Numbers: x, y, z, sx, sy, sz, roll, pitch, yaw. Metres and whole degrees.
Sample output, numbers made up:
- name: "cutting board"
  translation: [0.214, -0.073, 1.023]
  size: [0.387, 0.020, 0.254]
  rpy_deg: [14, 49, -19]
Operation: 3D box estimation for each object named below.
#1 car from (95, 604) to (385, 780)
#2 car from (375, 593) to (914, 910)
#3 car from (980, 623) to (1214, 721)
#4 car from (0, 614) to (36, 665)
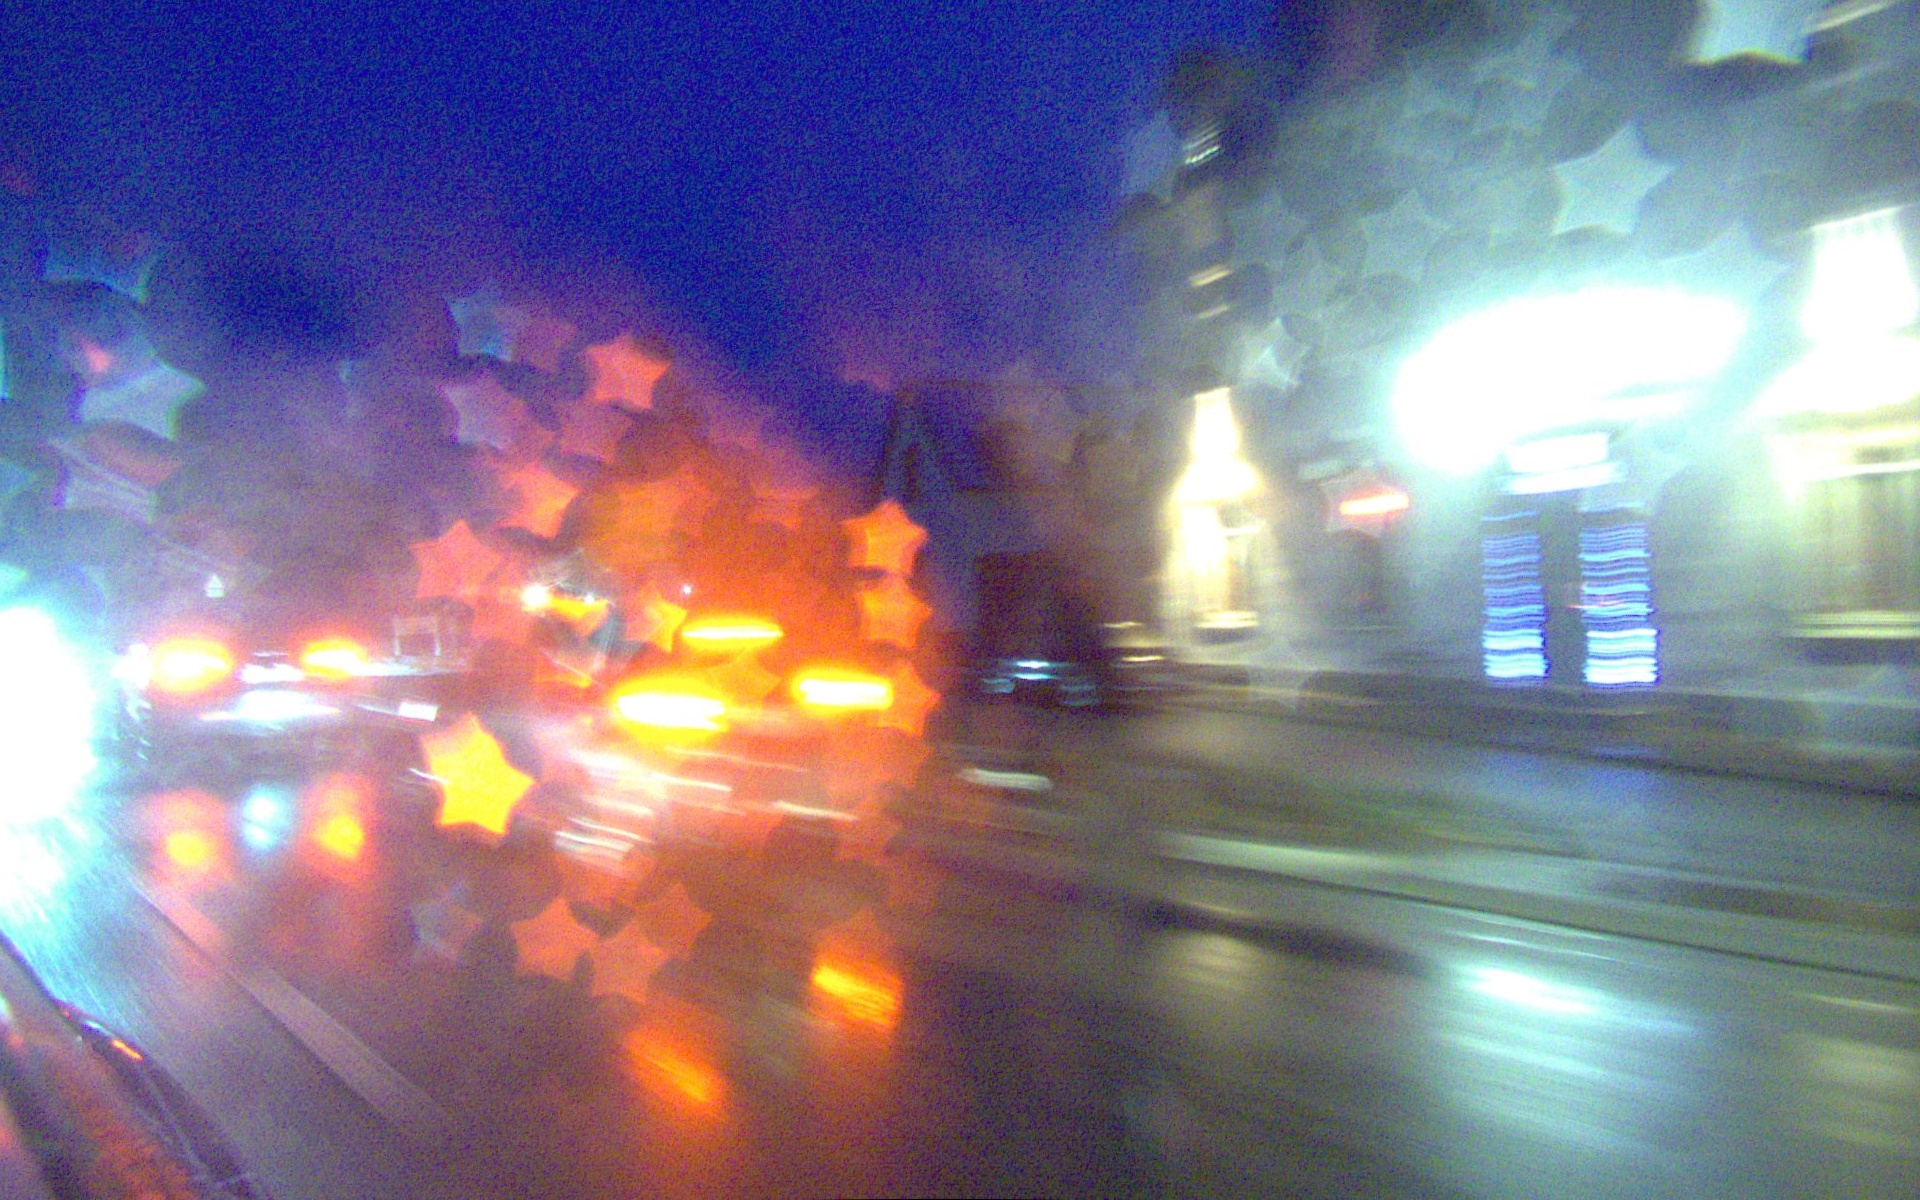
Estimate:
- name: "car"
  translation: [-8.327, 0.856, 11.540]
  size: [4.401, 1.533, 1.934]
  rpy_deg: [0, 2, 44]
- name: "car"
  translation: [-2.295, 0.762, 6.793]
  size: [3.868, 1.487, 1.694]
  rpy_deg: [-2, 0, 42]
- name: "car"
  translation: [2.104, 1.108, 16.722]
  size: [1.665, 1.409, 4.163]
  rpy_deg: [2, -2, -29]
- name: "car"
  translation: [-35.475, 1.434, 37.232]
  size: [1.930, 1.734, 4.007]
  rpy_deg: [0, 0, -39]
